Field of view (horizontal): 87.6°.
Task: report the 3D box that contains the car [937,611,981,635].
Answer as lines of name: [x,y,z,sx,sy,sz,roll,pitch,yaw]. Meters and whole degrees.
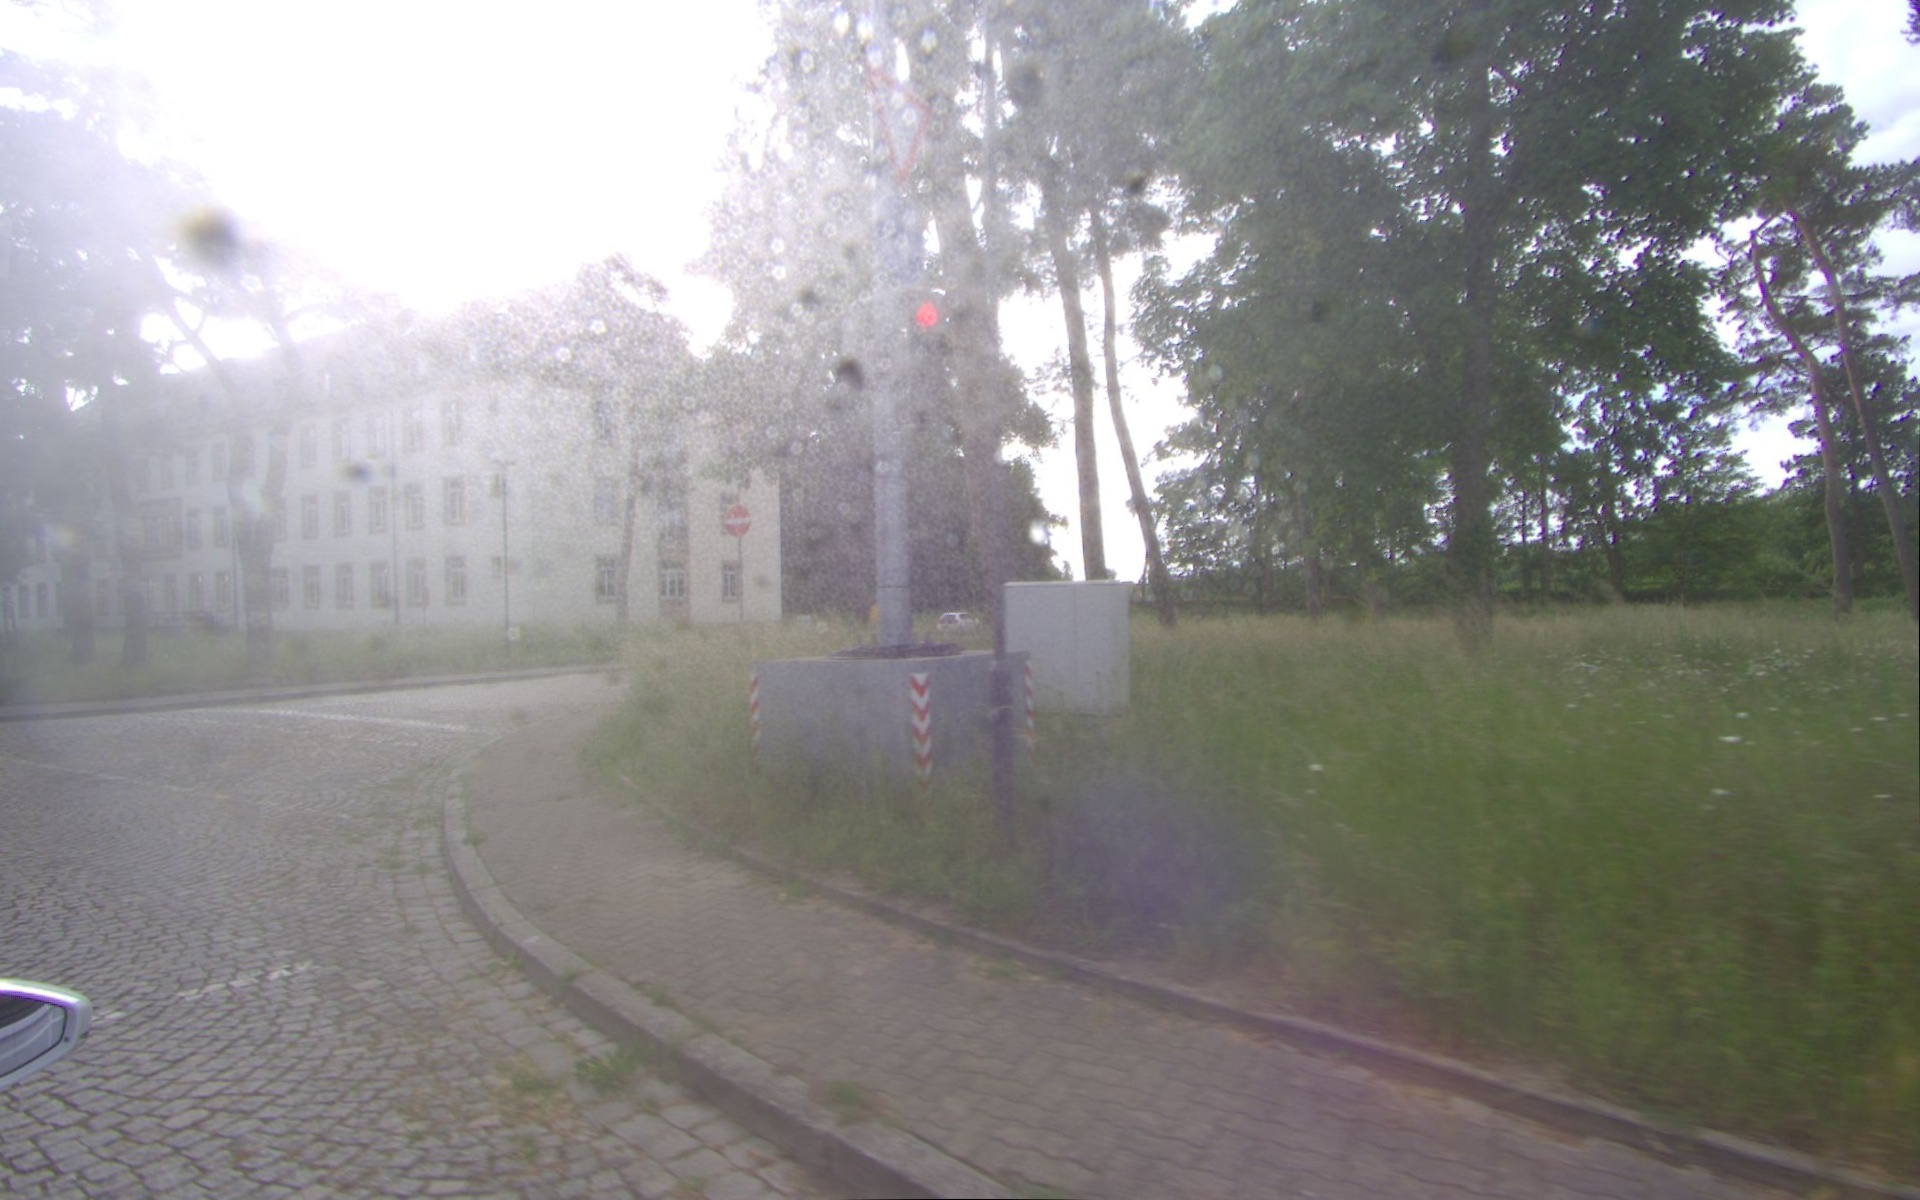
car: [-0.039,1.500,64.610,1.466,1.455,3.181,-1,-2,30]
